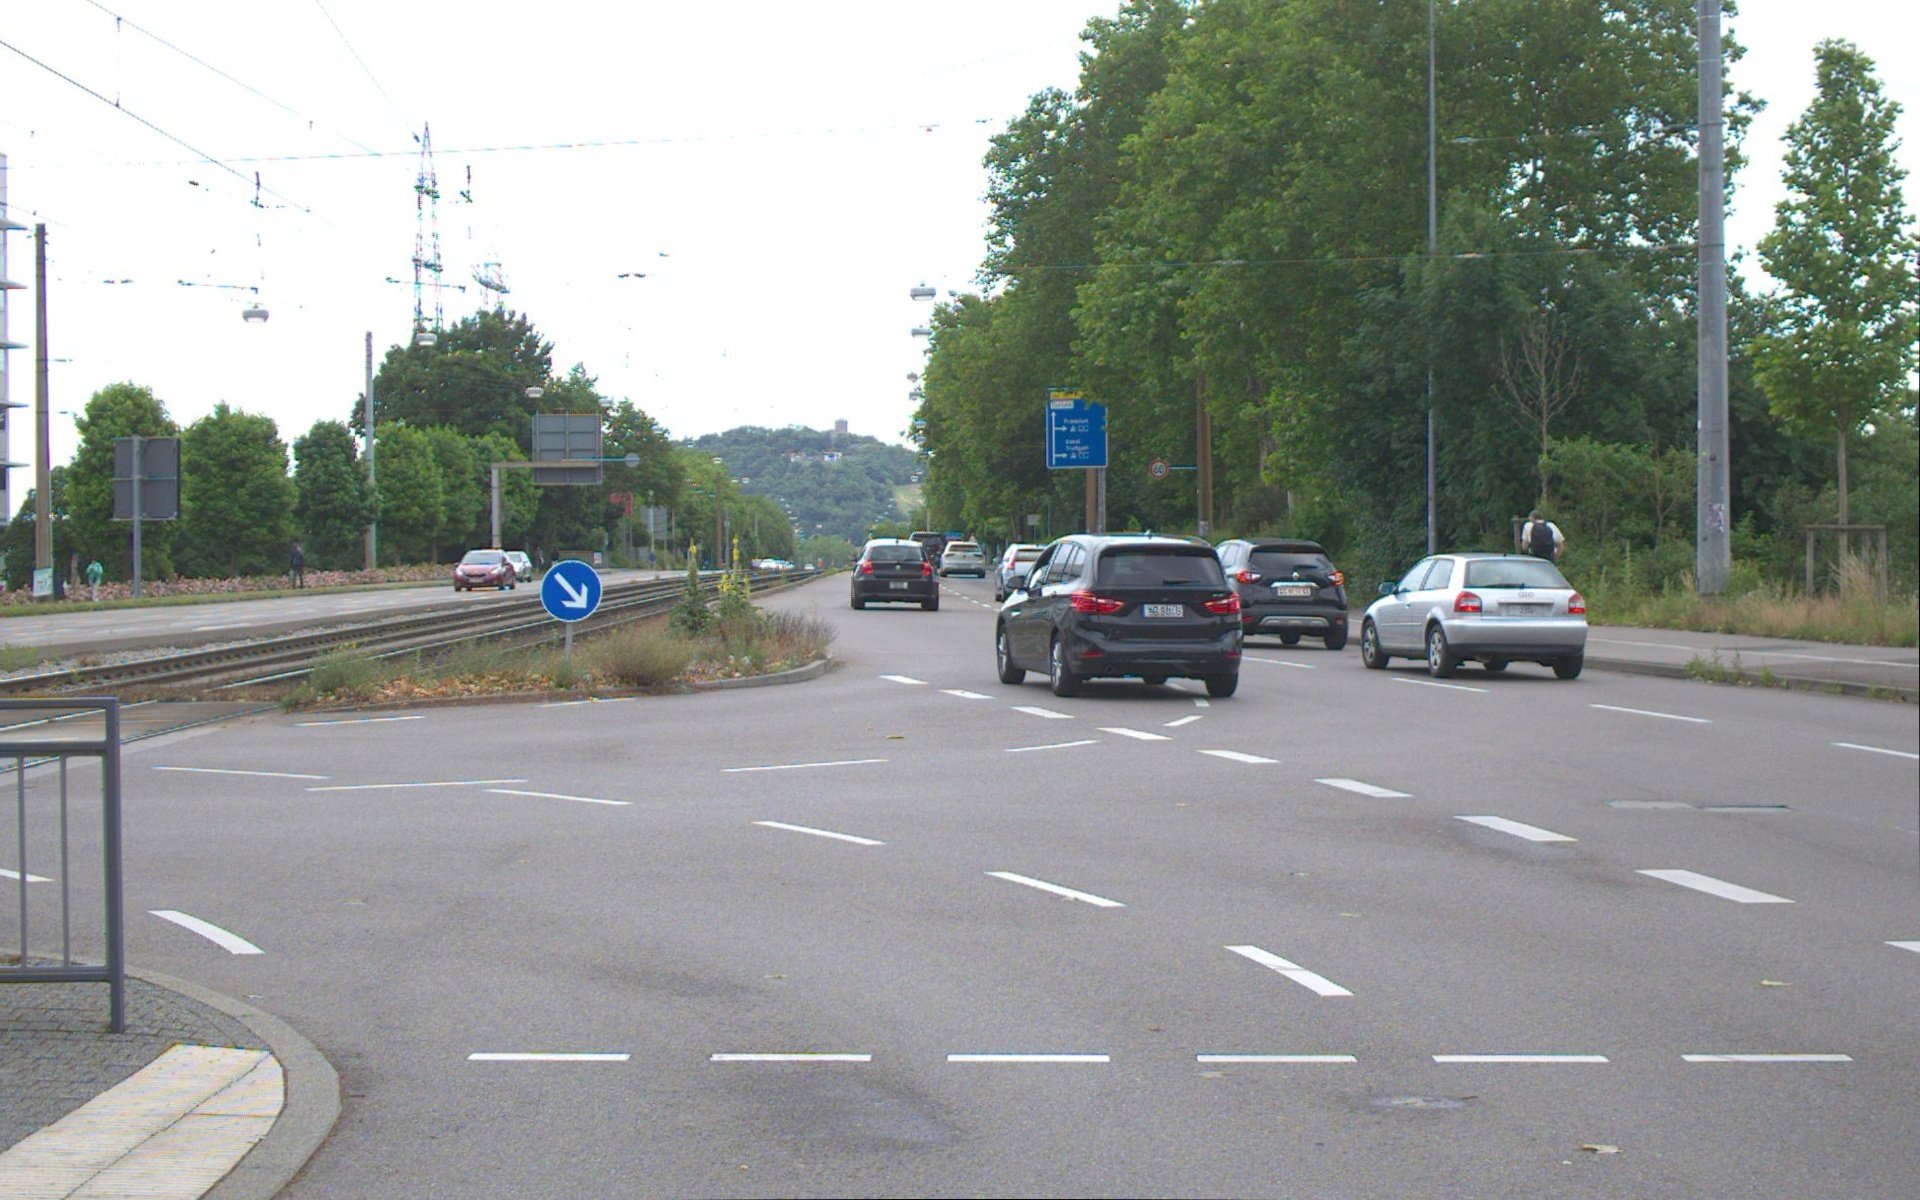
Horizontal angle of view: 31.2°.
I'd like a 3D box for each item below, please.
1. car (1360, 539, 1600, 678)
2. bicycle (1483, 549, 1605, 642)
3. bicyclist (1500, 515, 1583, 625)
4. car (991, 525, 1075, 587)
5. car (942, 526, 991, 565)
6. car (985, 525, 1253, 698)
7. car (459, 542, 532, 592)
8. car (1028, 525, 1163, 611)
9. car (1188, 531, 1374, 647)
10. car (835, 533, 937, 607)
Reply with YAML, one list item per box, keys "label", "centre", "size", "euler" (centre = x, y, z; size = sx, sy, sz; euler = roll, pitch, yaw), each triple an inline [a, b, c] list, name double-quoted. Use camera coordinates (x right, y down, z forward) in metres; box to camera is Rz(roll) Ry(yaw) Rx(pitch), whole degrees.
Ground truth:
- label: "car"
  centre: [6.005, 0.065, 40.055]
  size: [1.727, 1.504, 3.633]
  euler: [1, 1, -9]
- label: "bicycle"
  centre: [8.102, -0.076, 47.803]
  size: [0.816, 1.181, 2.523]
  euler: [-2, 2, -11]
- label: "bicyclist"
  centre: [8.068, -0.429, 47.732]
  size: [0.816, 1.473, 1.000]
  euler: [-2, 2, -11]
- label: "car"
  centre: [1.776, -1.063, 84.553]
  size: [1.815, 1.475, 3.672]
  euler: [1, 0, -2]
- label: "car"
  centre: [0.253, -2.173, 138.311]
  size: [1.815, 1.475, 3.672]
  euler: [1, 0, -2]
- label: "car"
  centre: [1.527, 0.076, 34.692]
  size: [1.831, 1.631, 4.318]
  euler: [0, 1, -9]
- label: "car"
  centre: [-16.700, -1.202, 123.760]
  size: [1.993, 1.722, 4.000]
  euler: [1, 1, 1]
- label: "car"
  centre: [2.600, -0.620, 66.811]
  size: [1.856, 1.556, 4.318]
  euler: [2, 0, -8]
- label: "car"
  centre: [4.646, -0.169, 50.325]
  size: [1.856, 1.556, 4.318]
  euler: [2, 0, -6]
- label: "car"
  centre: [-1.537, -0.638, 70.243]
  size: [1.746, 1.426, 3.376]
  euler: [1, 1, -7]
